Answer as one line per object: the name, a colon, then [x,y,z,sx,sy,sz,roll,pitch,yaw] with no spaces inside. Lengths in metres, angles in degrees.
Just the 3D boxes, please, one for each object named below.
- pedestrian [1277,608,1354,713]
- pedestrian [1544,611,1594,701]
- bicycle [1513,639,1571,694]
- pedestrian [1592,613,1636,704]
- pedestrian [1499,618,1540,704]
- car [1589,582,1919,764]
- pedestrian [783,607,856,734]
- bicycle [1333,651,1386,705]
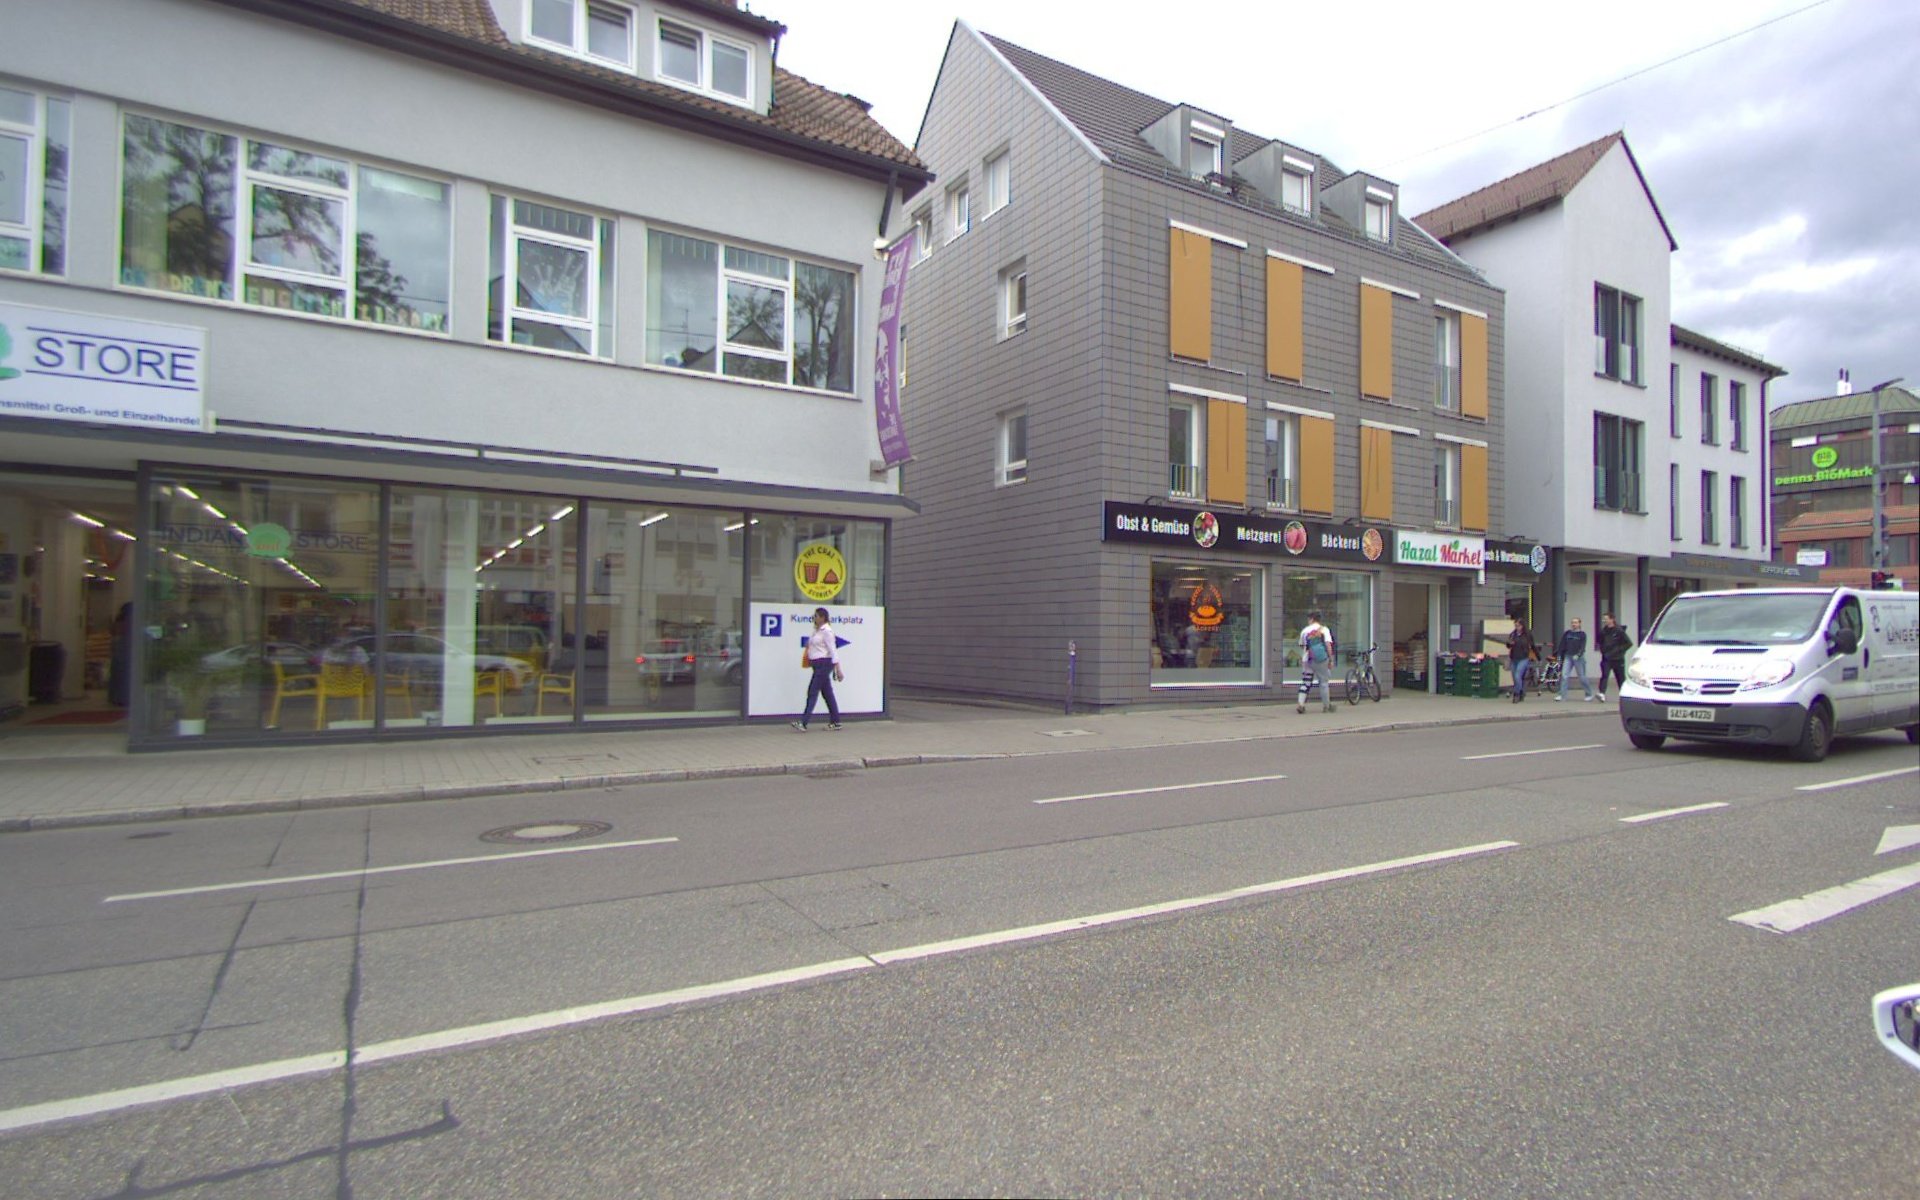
pedestrian: [6.115,1.019,17.300,0.969,1.728,0.750,1,2,-30]
pedestrian: [12.638,1.143,20.842,0.642,1.814,0.678,1,-1,-33]
bicycle: [13.278,1.502,22.891,1.807,1.201,0.384,1,-2,-34]
pedestrian: [13.297,1.178,20.433,0.640,1.799,0.565,1,-1,-36]
pedestrian: [11.167,1.203,20.048,0.643,1.672,0.557,0,-1,36]
car: [10.383,0.846,12.737,5.099,1.913,1.984,1,-3,-31]
pedestrian: [-1.883,0.919,13.392,0.744,1.631,0.725,1,-1,-30]
bicycle: [7.617,1.474,19.135,1.472,0.966,0.323,2,-2,-42]
